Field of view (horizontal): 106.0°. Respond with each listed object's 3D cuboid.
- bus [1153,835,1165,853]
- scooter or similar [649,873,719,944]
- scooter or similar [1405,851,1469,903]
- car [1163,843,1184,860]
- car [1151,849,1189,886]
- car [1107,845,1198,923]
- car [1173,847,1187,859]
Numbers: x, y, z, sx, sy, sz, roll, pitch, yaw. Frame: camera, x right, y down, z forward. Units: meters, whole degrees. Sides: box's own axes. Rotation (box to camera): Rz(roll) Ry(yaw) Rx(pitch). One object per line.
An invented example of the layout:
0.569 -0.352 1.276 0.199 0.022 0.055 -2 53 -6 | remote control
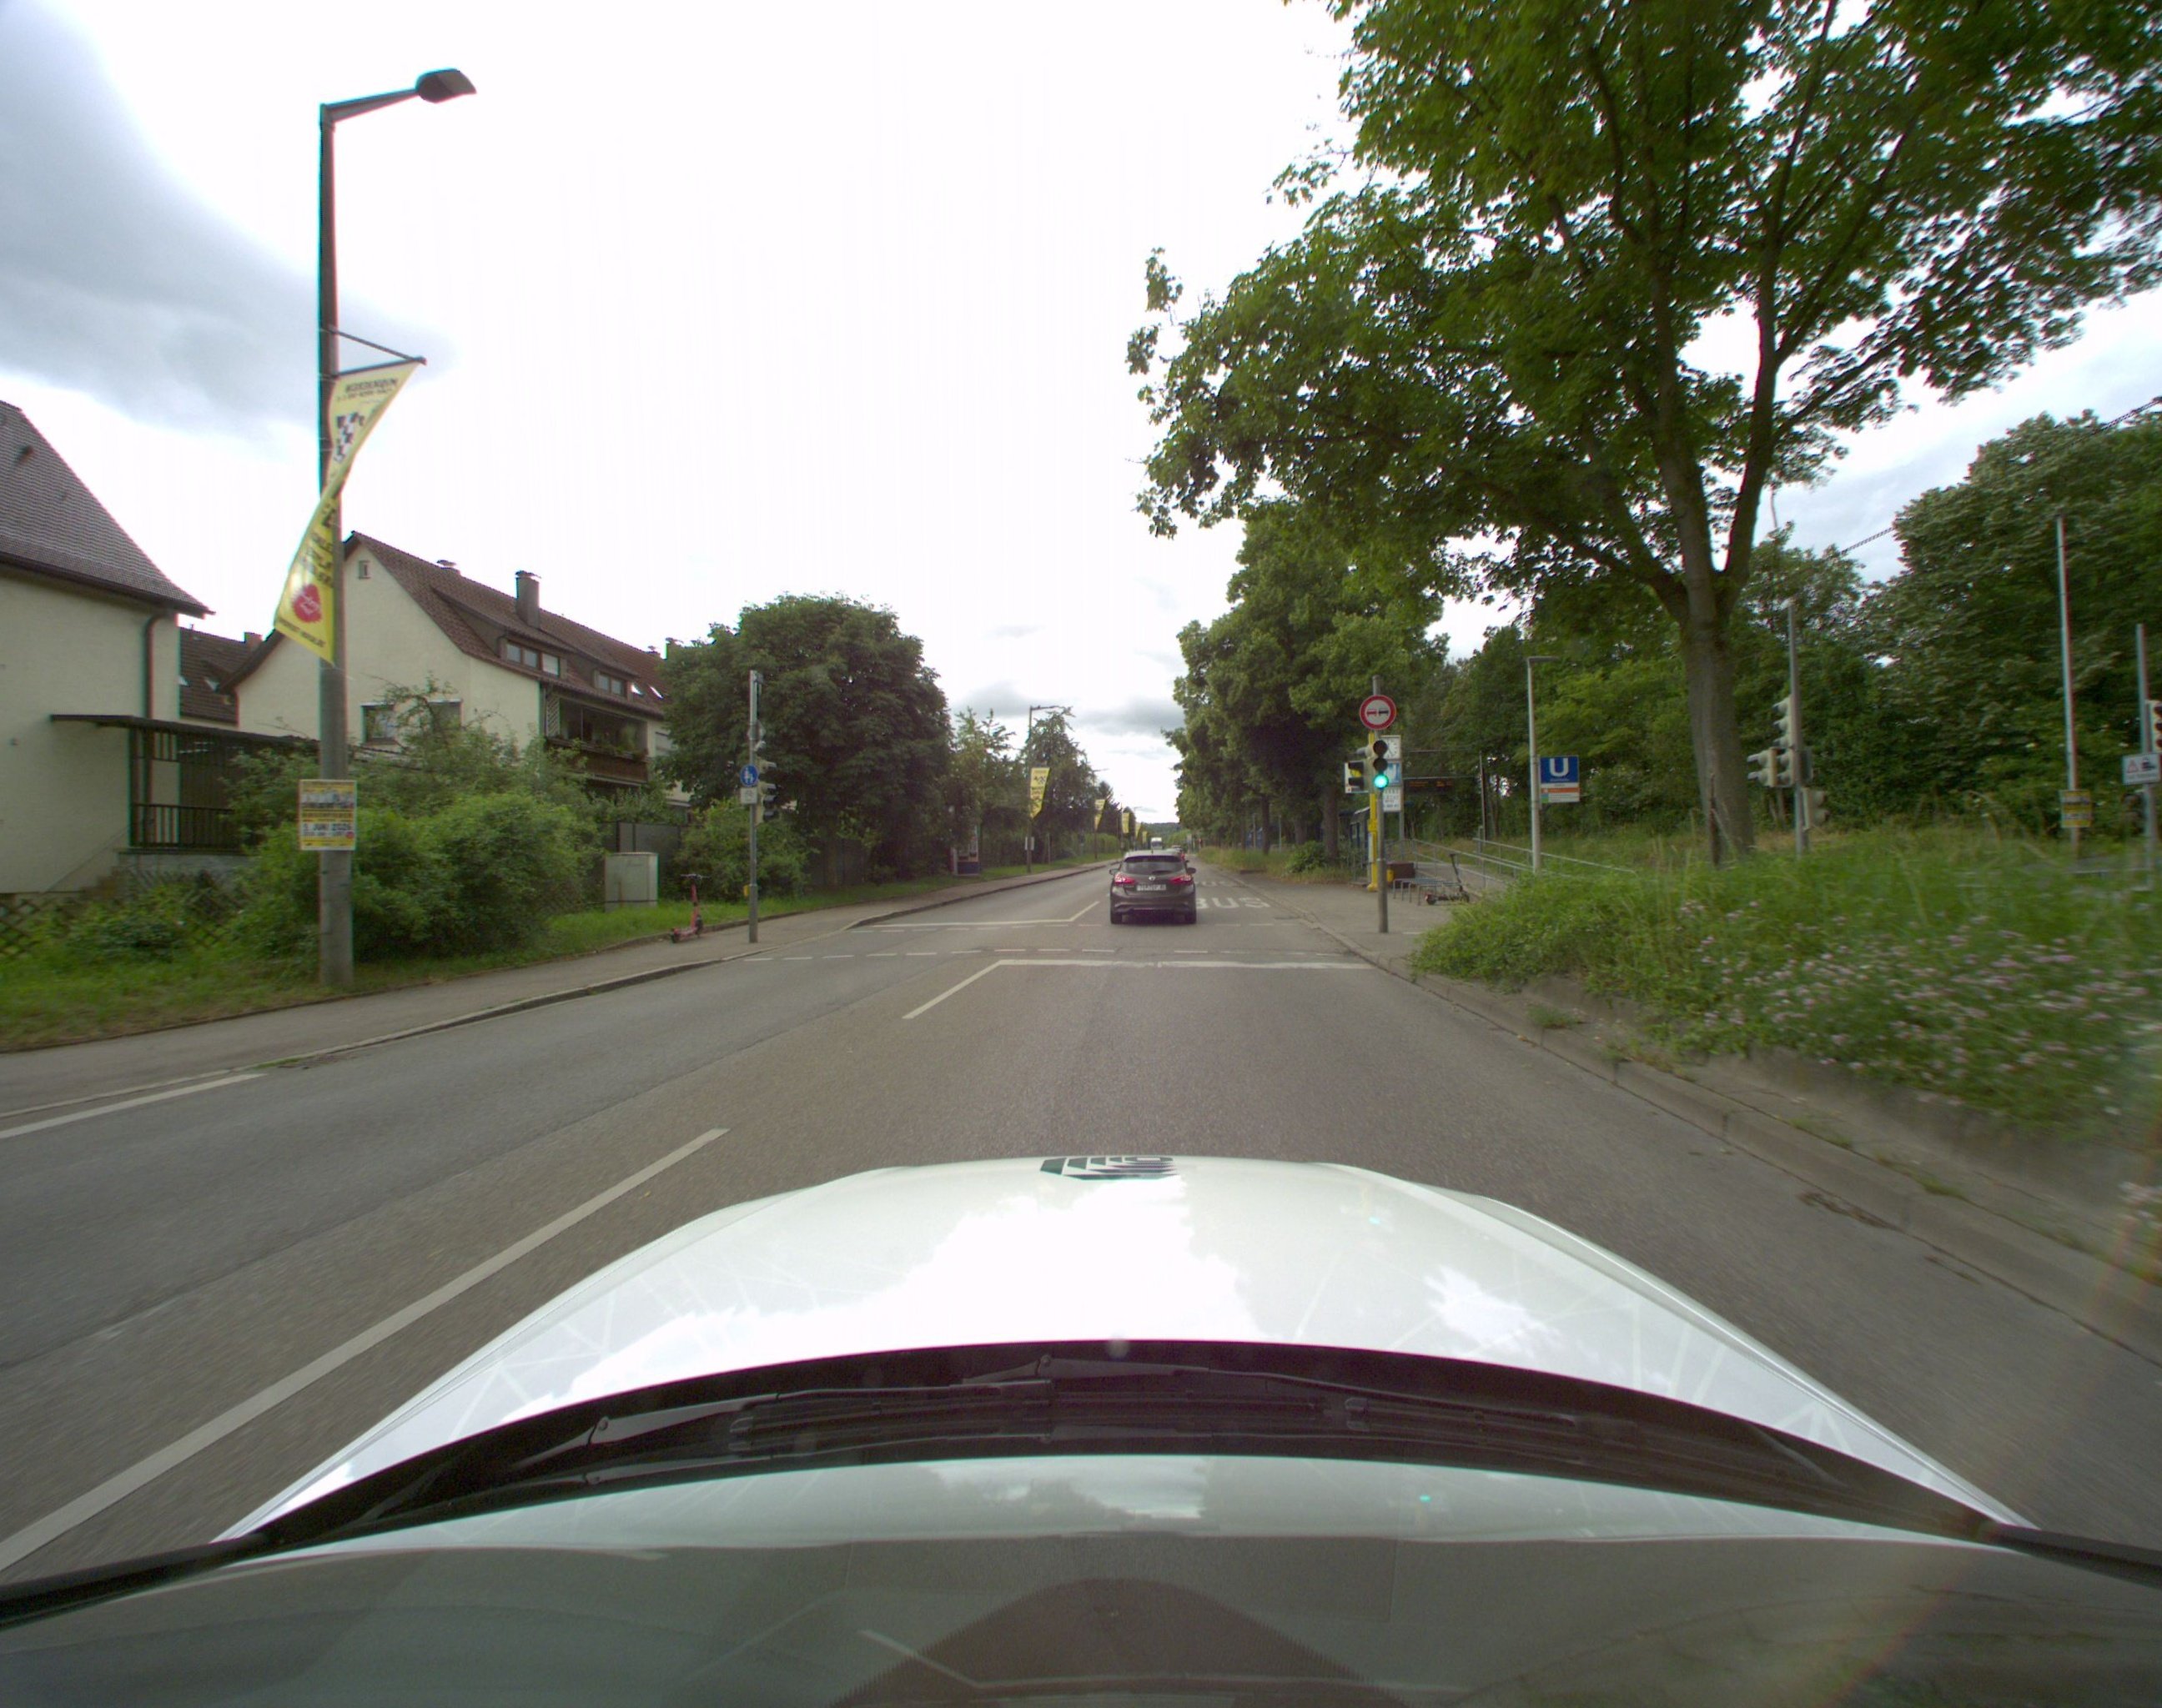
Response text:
18.259 -2.283 189.641 2.474 4.025 10.237 -1 0 7 | bus
-7.544 1.002 15.539 0.460 1.259 1.429 -1 0 8 | scooter or similar
8.747 0.554 20.004 1.455 1.243 0.482 0 0 -15 | scooter or similar
7.825 -0.206 68.861 1.683 1.441 3.548 -1 0 7 | car
3.724 0.523 33.933 1.494 1.441 3.548 -1 0 7 | car
1.643 0.613 17.915 1.774 1.507 3.703 -1 0 7 | car
12.093 -0.099 99.527 1.683 1.441 3.548 -1 0 7 | car
